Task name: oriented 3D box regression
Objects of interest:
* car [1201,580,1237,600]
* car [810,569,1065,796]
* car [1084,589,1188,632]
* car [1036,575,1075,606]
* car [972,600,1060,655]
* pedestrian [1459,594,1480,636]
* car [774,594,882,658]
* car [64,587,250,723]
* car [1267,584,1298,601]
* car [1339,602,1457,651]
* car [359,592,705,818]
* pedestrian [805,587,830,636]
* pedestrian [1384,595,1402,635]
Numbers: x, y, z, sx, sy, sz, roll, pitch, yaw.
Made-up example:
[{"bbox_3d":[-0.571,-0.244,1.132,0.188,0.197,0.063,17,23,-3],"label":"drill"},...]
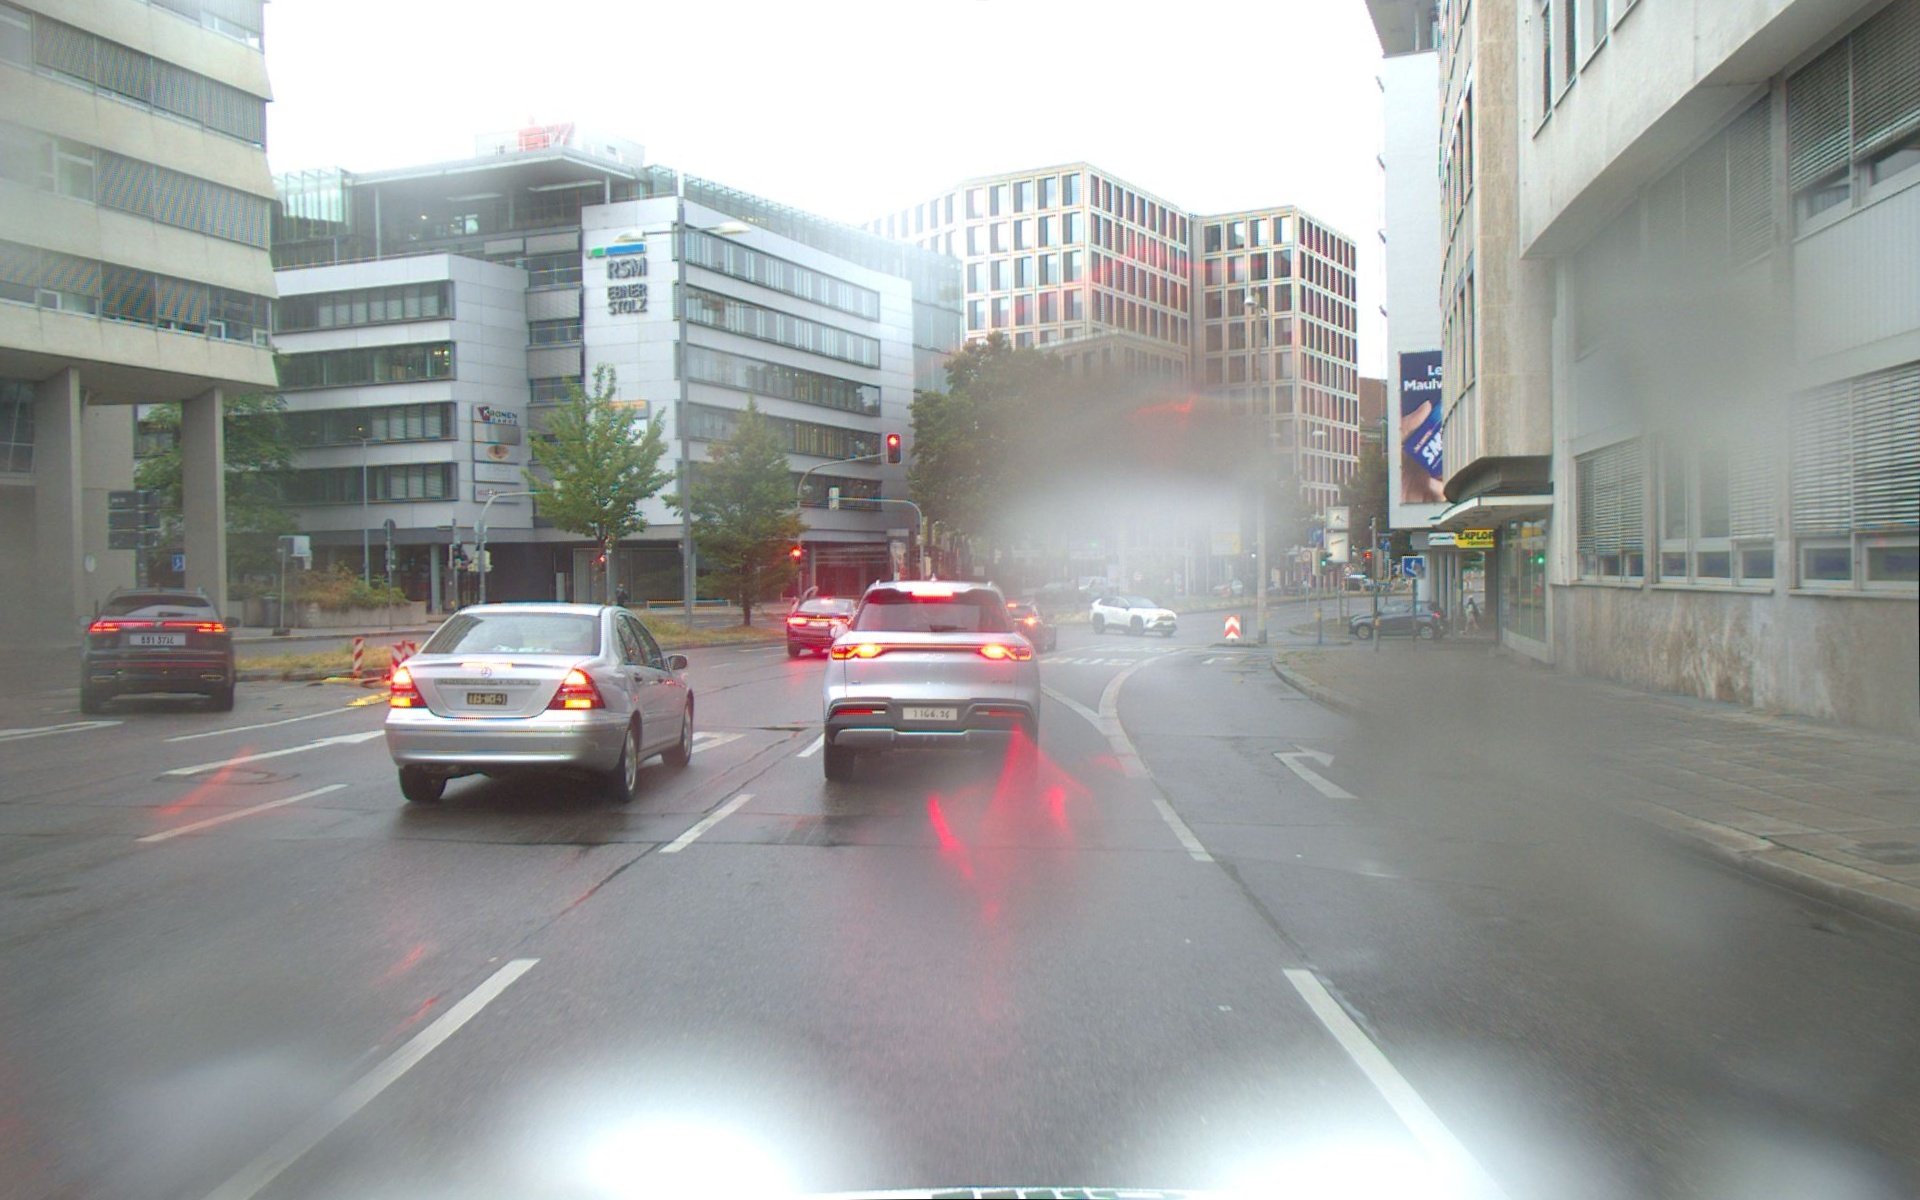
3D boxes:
[{"bbox_3d":[23.938,-0.920,152.547,1.956,1.735,4.303,1,2,28],"label":"car"},{"bbox_3d":[-0.237,0.625,14.943,1.953,1.739,4.481,0,0,-2],"label":"car"},{"bbox_3d":[7.533,0.442,71.163,1.978,1.780,4.473,0,0,-36],"label":"car"},{"bbox_3d":[7.145,-0.693,123.864,1.701,2.199,4.495,1,0,19],"label":"car"},{"bbox_3d":[1.723,0.794,49.391,1.913,1.557,4.003,0,0,13],"label":"car"},{"bbox_3d":[21.261,0.622,68.988,0.751,1.707,0.729,0,0,24],"label":"pedestrian"},{"bbox_3d":[-3.344,0.640,42.757,1.913,1.557,4.003,0,0,9],"label":"car"},{"bbox_3d":[-10.359,0.627,21.457,1.969,1.571,4.446,0,0,-25],"label":"car"},{"bbox_3d":[33.327,-0.787,171.078,1.956,1.735,4.303,1,2,28],"label":"car"},{"bbox_3d":[17.794,1.047,67.154,4.260,1.796,2.050,1,0,28],"label":"car"},{"bbox_3d":[-3.187,0.697,13.156,1.647,1.512,4.196,0,0,0],"label":"car"},{"bbox_3d":[-5.250,0.420,61.133,0.903,1.768,0.729,0,0,-3],"label":"pedestrian"},{"bbox_3d":[18.466,0.624,70.474,0.712,1.698,0.691,0,-1,17],"label":"pedestrian"}]
